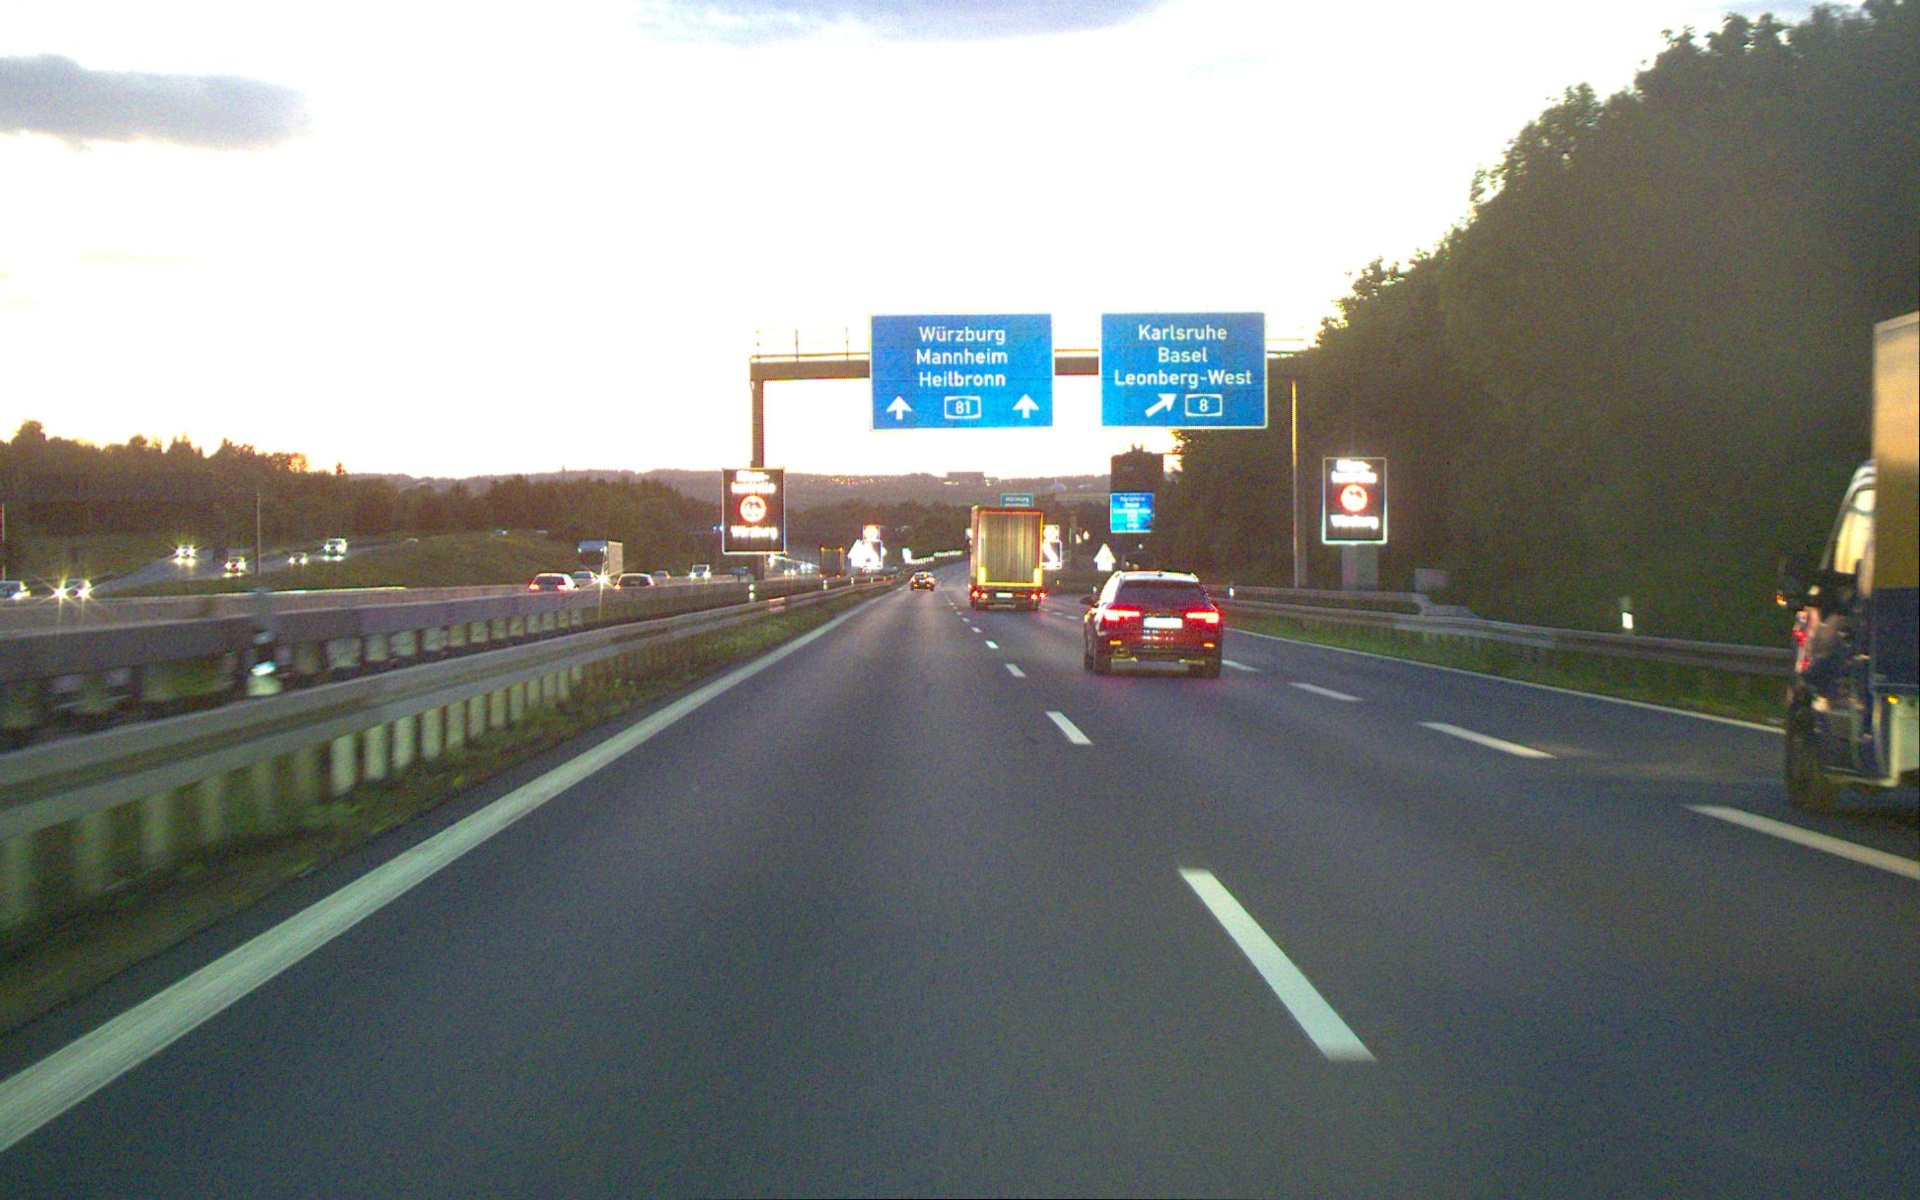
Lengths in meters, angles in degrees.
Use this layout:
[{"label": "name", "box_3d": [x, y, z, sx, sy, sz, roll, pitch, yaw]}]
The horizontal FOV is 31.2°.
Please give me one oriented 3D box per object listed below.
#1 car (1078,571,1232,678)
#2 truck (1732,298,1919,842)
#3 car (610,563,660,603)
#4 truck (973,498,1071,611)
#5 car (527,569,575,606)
[{"label": "car", "box_3d": [2.733, 0.330, 49.037, 1.915, 1.437, 4.000, -1, 0, -1]}, {"label": "truck", "box_3d": [6.346, -0.152, 19.457, 2.268, 2.961, 6.632, 2, 1, -1]}, {"label": "car", "box_3d": [-13.395, -0.710, 141.705, 1.713, 1.600, 3.722, -1, 0, 0]}, {"label": "truck", "box_3d": [2.401, -1.752, 136.013, 3.509, 4.287, 9.891, -1, 0, -1]}, {"label": "car", "box_3d": [-17.417, -0.513, 146.546, 1.638, 1.541, 3.395, -1, 0, 0]}]
